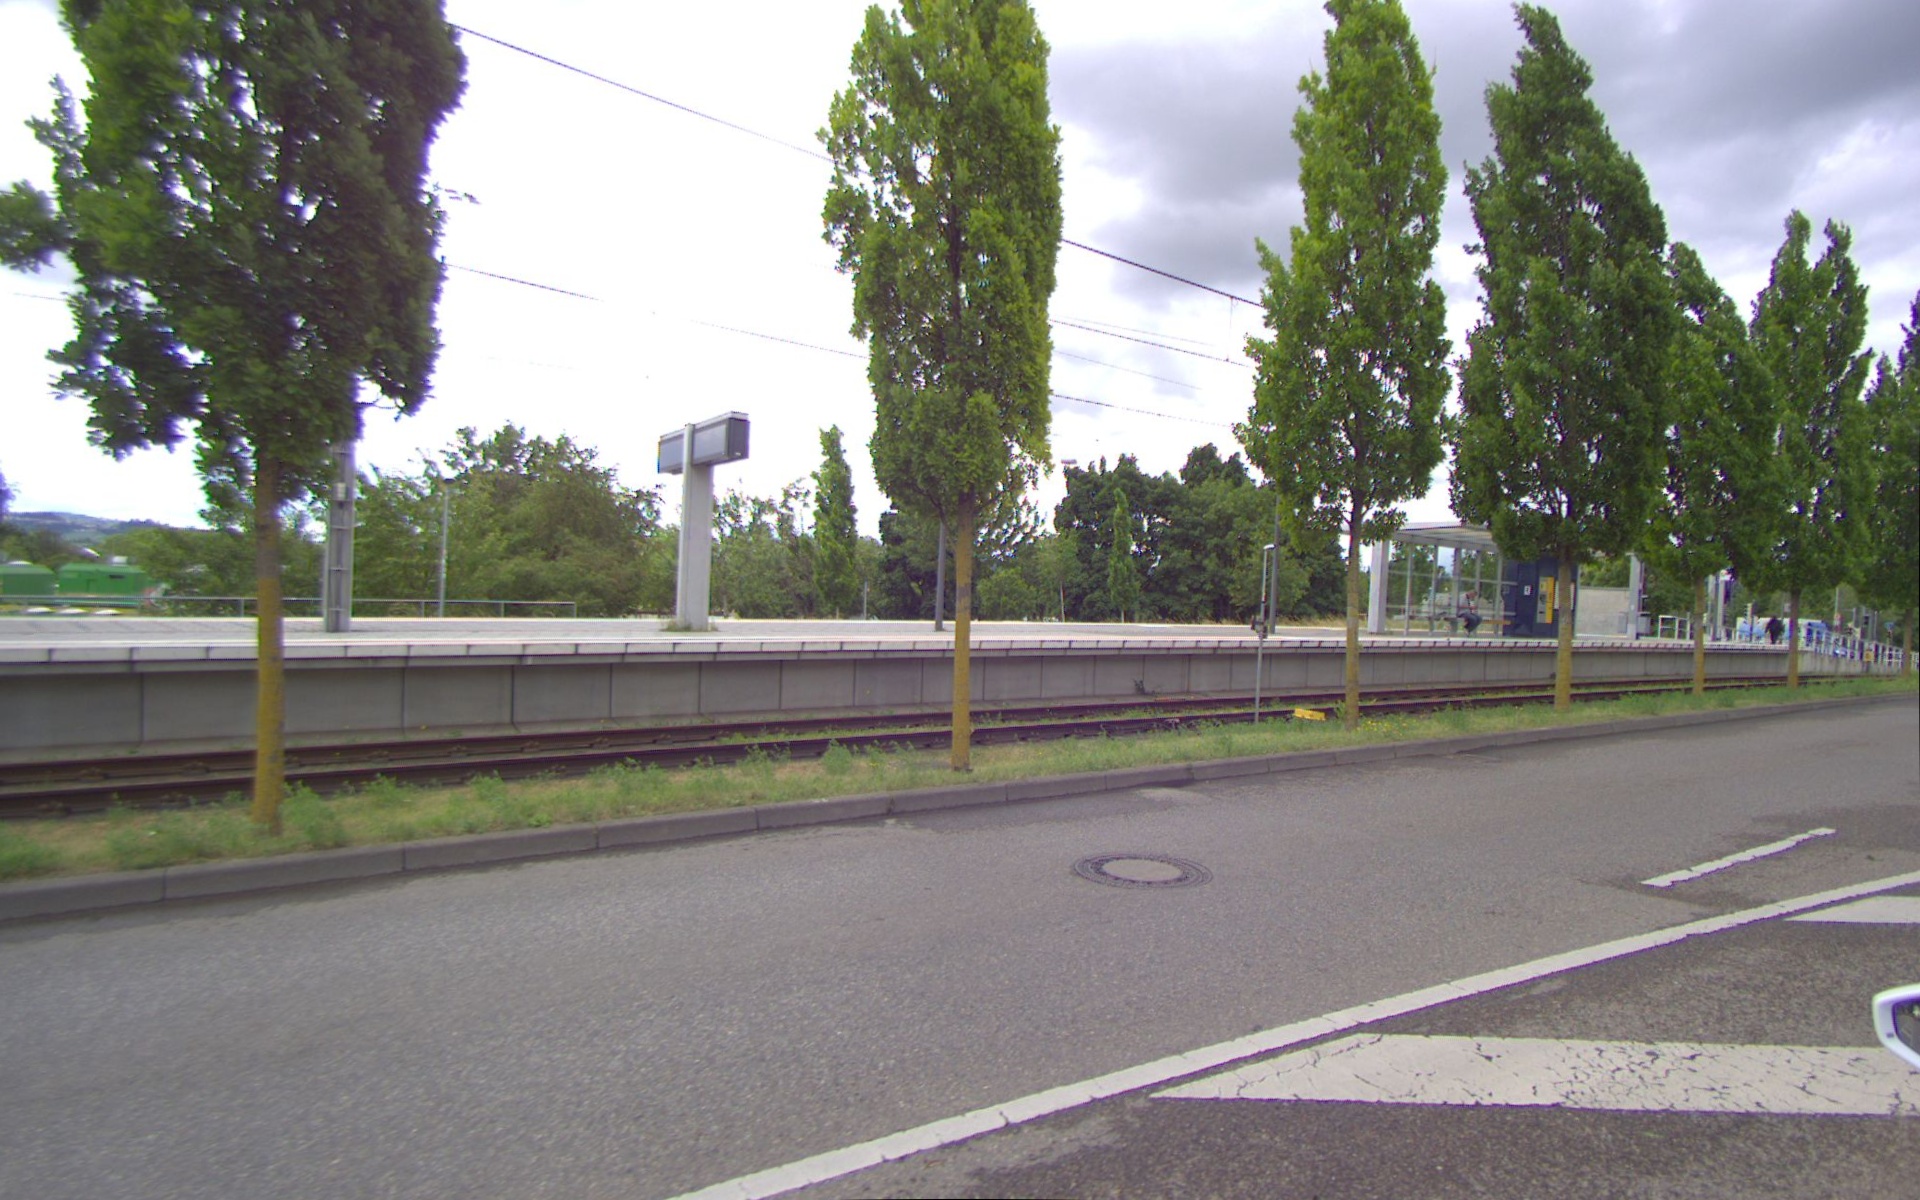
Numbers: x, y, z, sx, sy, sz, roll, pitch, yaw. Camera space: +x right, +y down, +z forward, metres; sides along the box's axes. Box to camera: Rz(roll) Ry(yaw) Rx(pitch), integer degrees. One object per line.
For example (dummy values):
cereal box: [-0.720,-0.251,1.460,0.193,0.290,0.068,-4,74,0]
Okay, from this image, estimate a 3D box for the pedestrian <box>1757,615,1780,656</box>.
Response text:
pedestrian: [37.066,1.643,46.067,0.785,1.852,0.568,3,0,-35]

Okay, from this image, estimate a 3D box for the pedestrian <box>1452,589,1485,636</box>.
pedestrian: [14.275,0.352,28.217,0.653,1.286,0.605,-1,1,-36]

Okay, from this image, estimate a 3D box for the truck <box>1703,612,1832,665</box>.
truck: [61.303,2.829,76.474,2.655,3.647,7.218,0,0,-25]
